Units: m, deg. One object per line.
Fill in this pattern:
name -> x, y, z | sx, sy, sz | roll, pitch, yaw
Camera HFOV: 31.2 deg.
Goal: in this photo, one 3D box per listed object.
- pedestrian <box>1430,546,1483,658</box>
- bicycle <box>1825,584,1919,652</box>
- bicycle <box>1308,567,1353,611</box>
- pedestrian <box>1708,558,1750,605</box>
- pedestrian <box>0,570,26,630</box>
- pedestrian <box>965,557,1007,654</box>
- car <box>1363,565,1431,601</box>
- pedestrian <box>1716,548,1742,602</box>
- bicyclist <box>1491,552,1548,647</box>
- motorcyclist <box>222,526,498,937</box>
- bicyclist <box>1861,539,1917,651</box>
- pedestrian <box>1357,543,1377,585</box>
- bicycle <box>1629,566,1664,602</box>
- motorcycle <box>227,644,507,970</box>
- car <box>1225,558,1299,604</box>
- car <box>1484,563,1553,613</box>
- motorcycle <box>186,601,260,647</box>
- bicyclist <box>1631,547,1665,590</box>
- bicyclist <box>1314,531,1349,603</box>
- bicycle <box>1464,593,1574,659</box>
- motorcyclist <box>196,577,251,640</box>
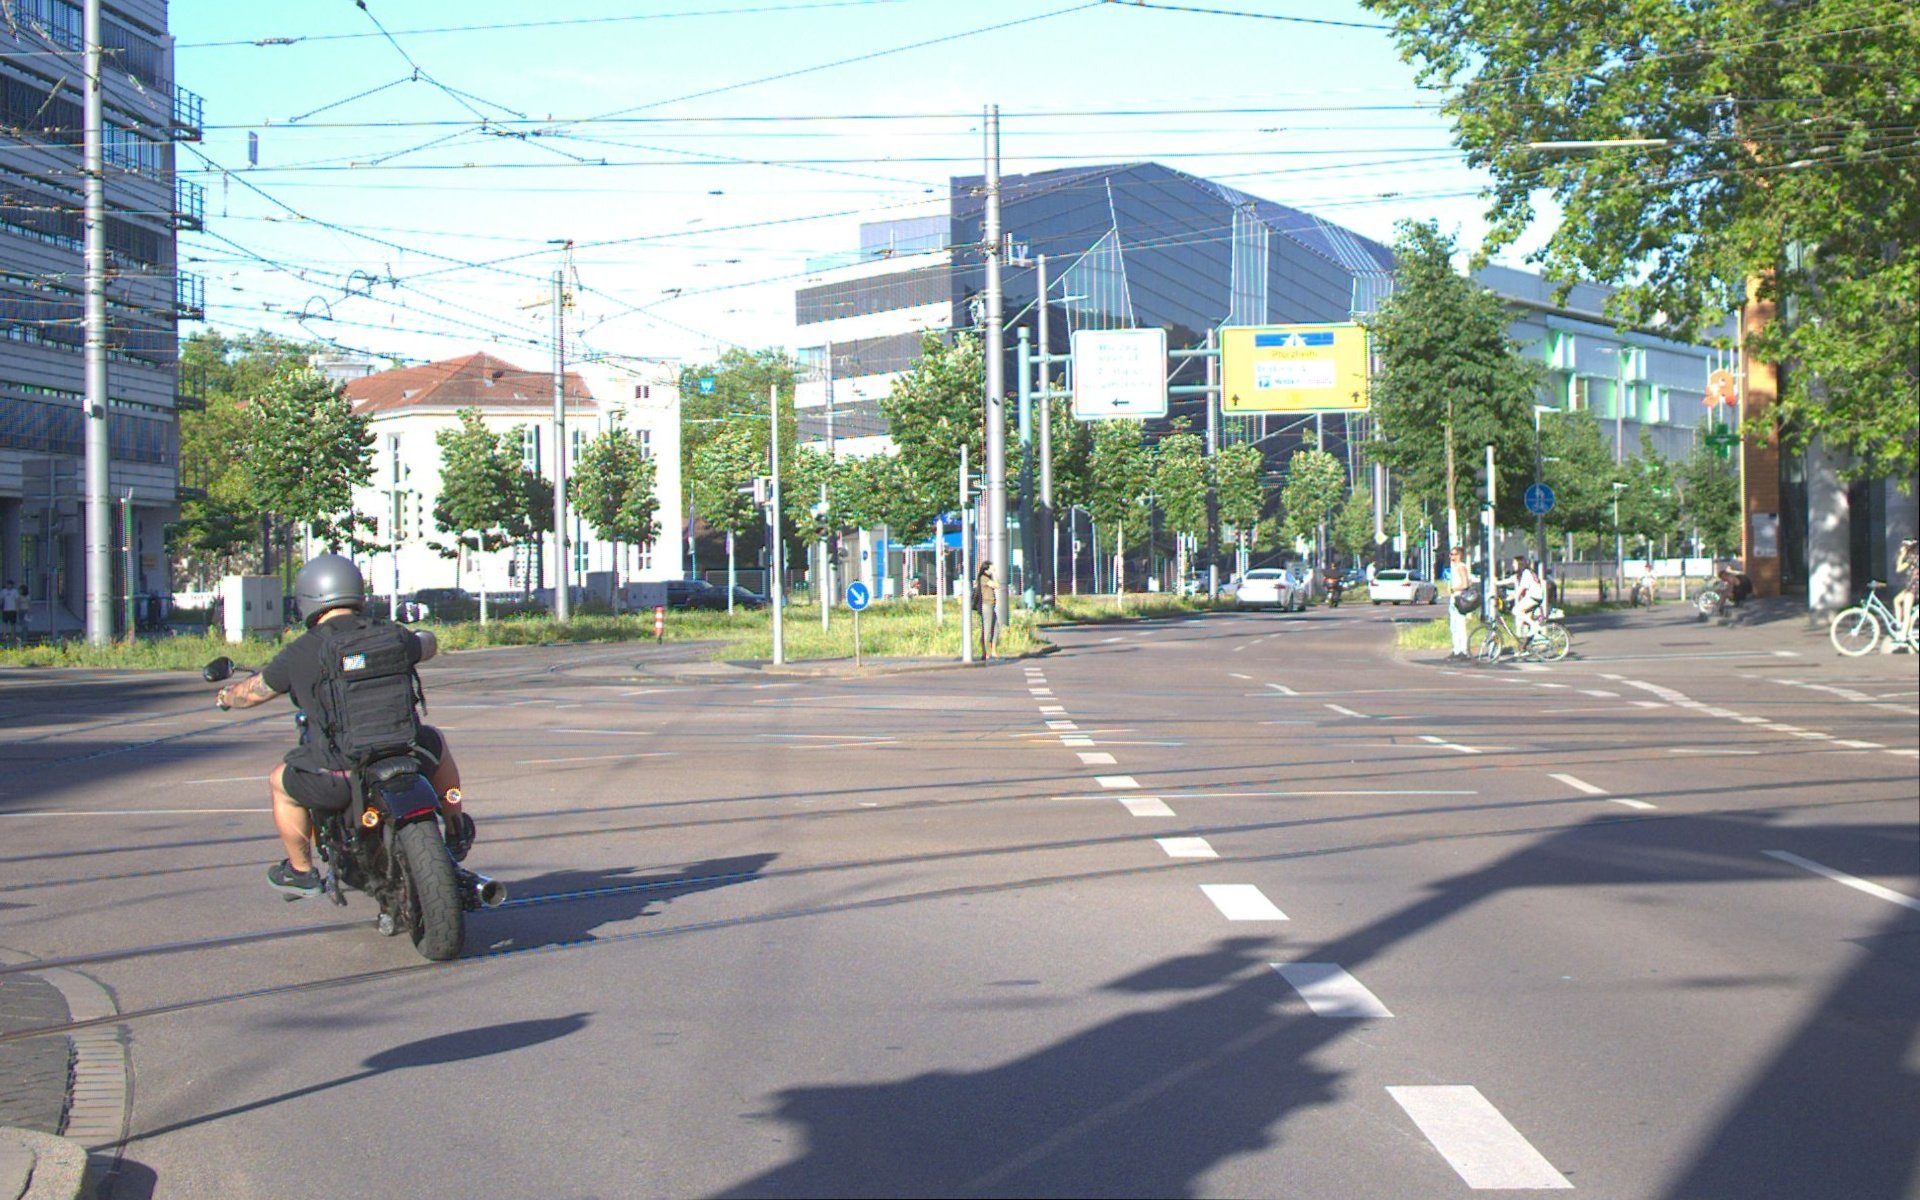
pedestrian -> 8.212, 0.034, 56.842 | 0.701, 1.830, 0.514 | 0, 0, 35
bicycle -> 14.267, 0.269, 52.788 | 1.853, 1.018, 0.516 | -1, 0, 11
bicycle -> 13.693, -0.421, 126.885 | 1.017, 1.574, 3.571 | -1, 1, 16
pedestrian -> 17.514, -0.423, 78.276 | 0.785, 1.053, 0.813 | -1, 1, 22
pedestrian -> -27.730, 0.004, 100.595 | 0.548, 1.727, 0.641 | -1, 1, 5
pedestrian -> 0.433, 0.085, 56.392 | 0.657, 1.577, 0.489 | -1, 1, 3
car -> 17.504, -0.691, 137.499 | 2.017, 1.371, 4.035 | -1, 1, 17
pedestrian -> 22.633, -0.726, 101.201 | 0.706, 1.564, 0.622 | -1, 1, 12
bicyclist -> 8.917, -0.014, 54.796 | 0.743, 1.498, 0.569 | -1, 0, 24
motorcyclist -> -2.390, 0.485, 13.642 | 1.022, 1.547, 1.287 | 0, 1, -11
bicyclist -> 14.266, -0.074, 52.789 | 0.743, 1.689, 0.570 | -1, 0, 11
pedestrian -> 17.745, -1.553, 149.861 | 0.642, 1.812, 0.629 | -1, 1, 31
bicycle -> 22.428, -0.540, 112.375 | 1.040, 1.129, 3.179 | -1, 1, 10
motorcycle -> -2.387, 0.766, 13.720 | 1.005, 1.121, 2.324 | 0, 1, -11
car -> 10.150, -0.638, 115.227 | 1.903, 1.503, 3.997 | 0, 0, 14
car -> 21.274, -0.463, 130.923 | 2.055, 1.867, 4.223 | 0, 0, 17
motorcycle -> -20.803, 0.675, 97.099 | 0.984, 1.227, 2.942 | -1, 1, 10
bicyclist -> 22.419, -1.037, 112.063 | 1.040, 1.376, 1.563 | -1, 1, 10
bicyclist -> 13.706, -1.230, 126.826 | 1.017, 2.615, 1.470 | -1, 1, 17
bicycle -> 8.914, 0.414, 54.803 | 1.629, 1.018, 0.516 | -1, 0, 25
motorcyclist -> -20.799, 0.231, 97.139 | 1.019, 1.725, 1.460 | -1, 0, 10
